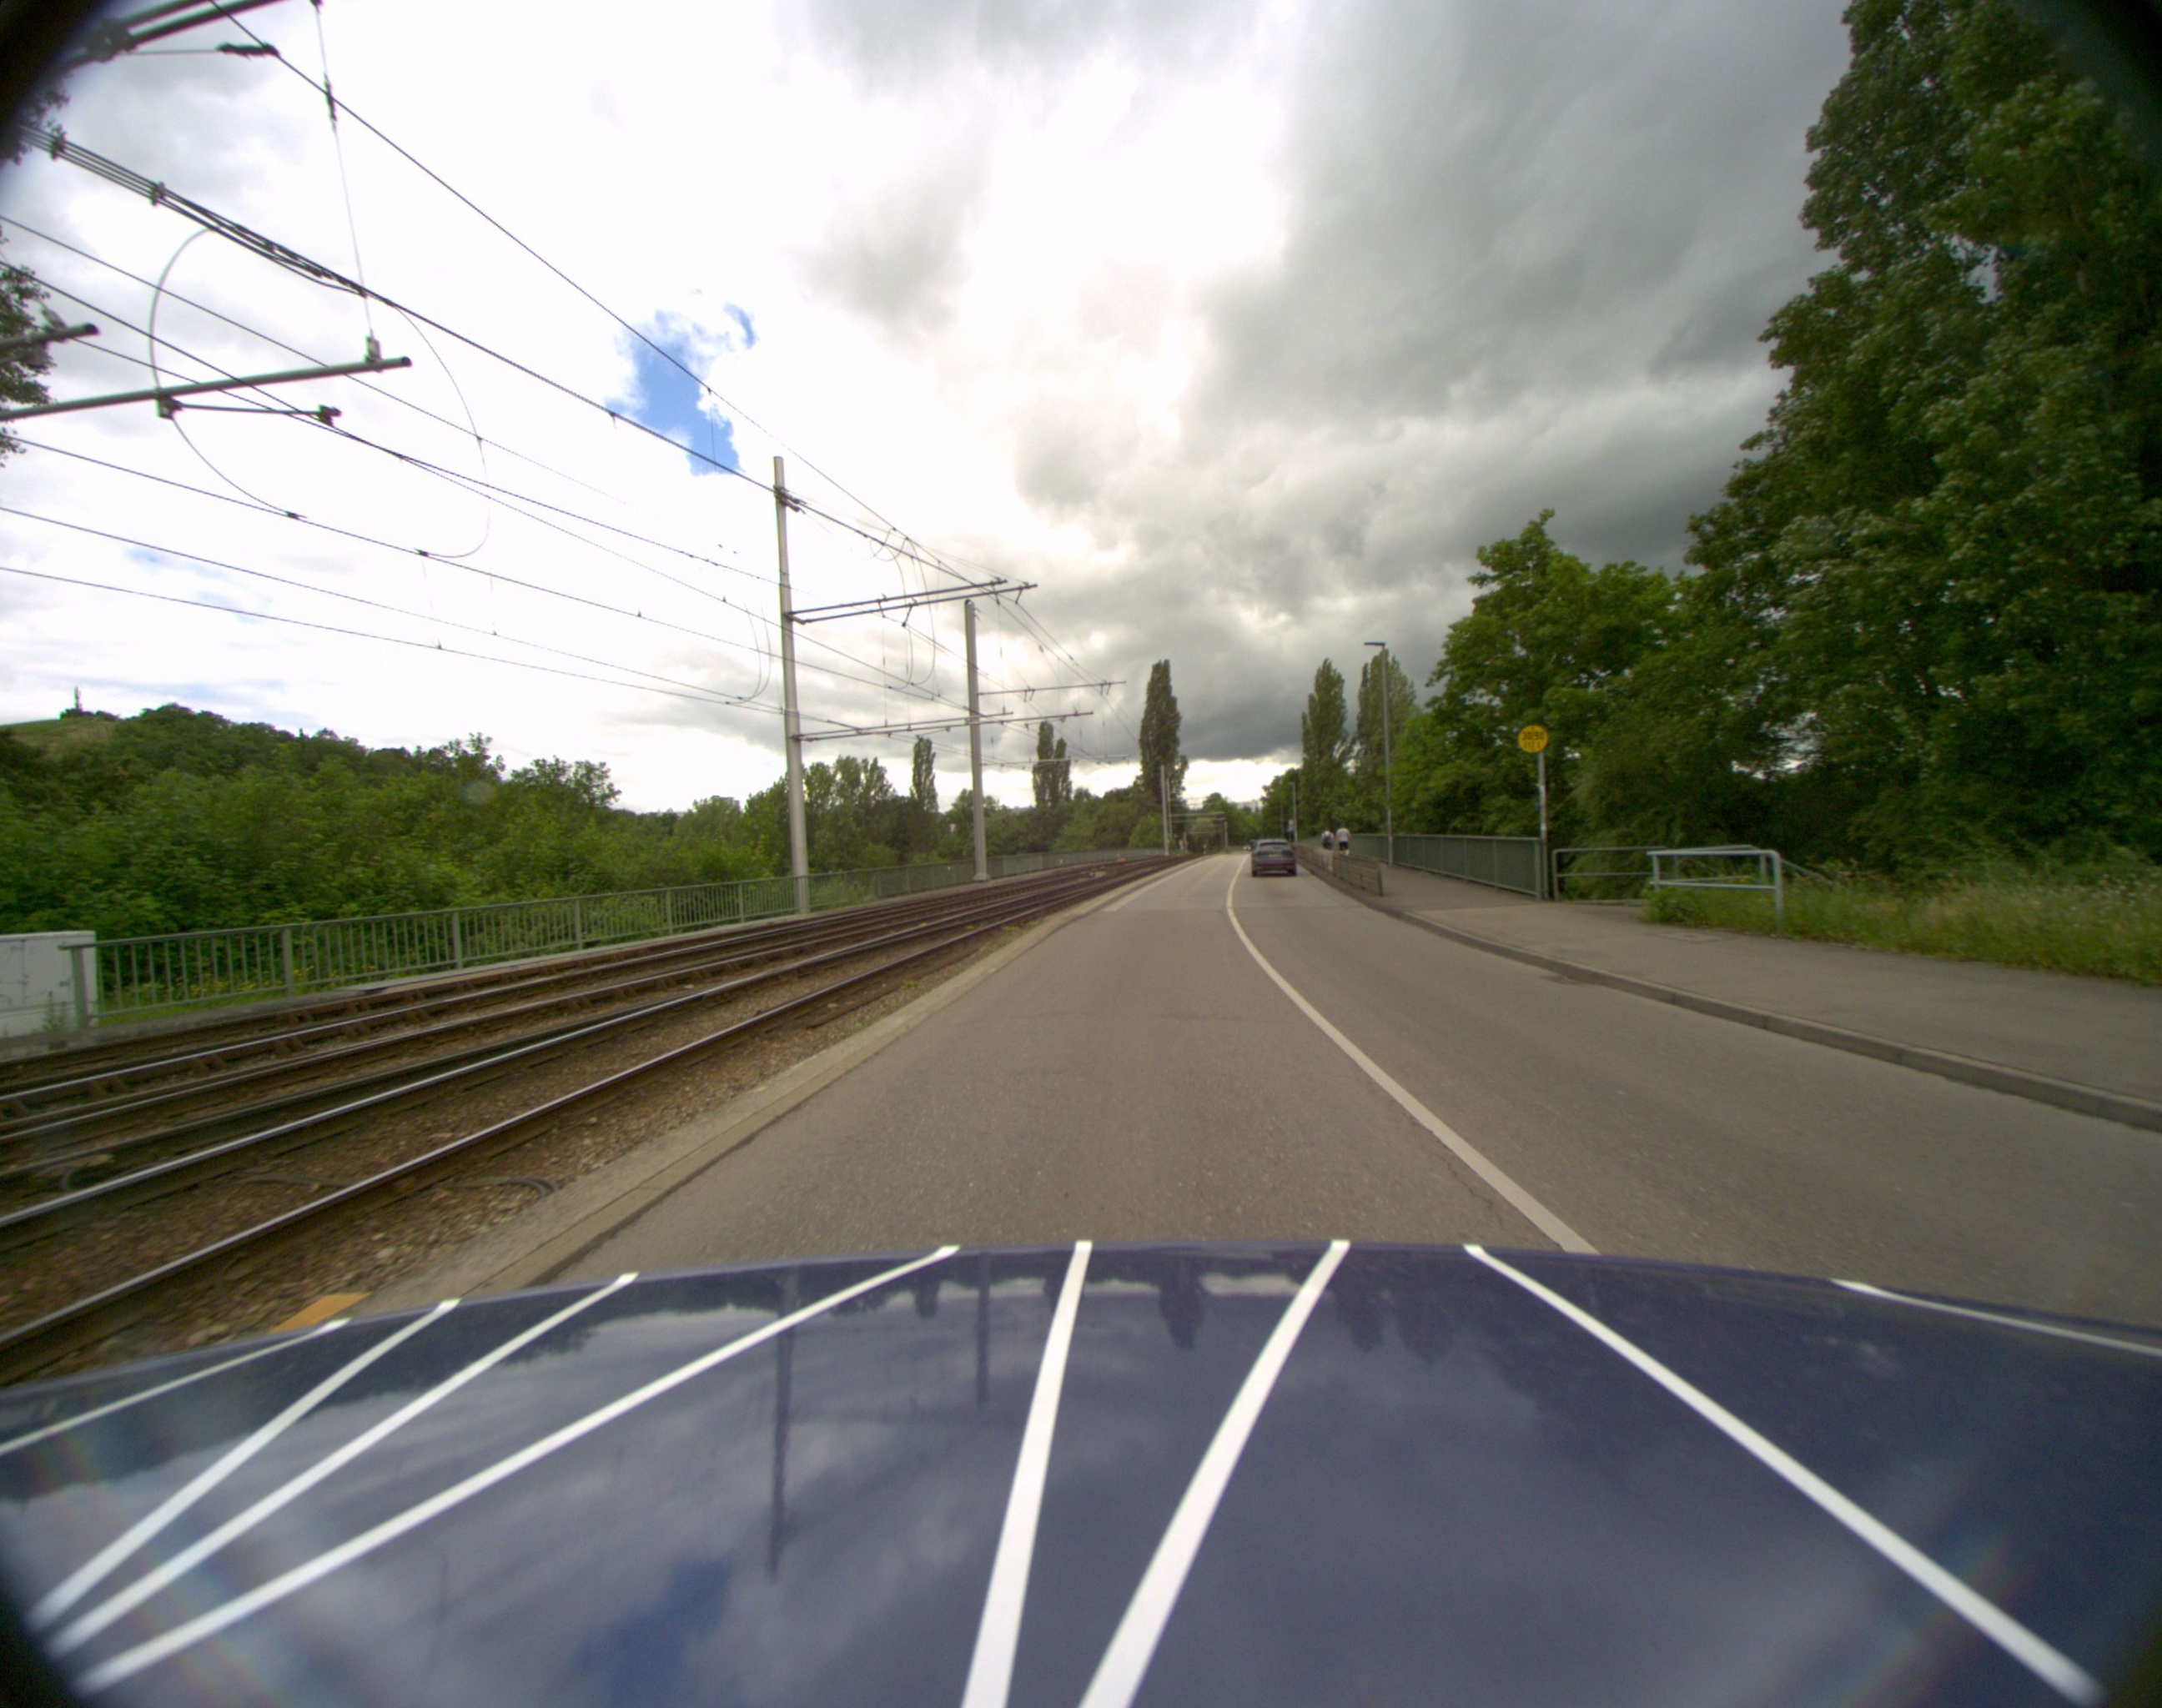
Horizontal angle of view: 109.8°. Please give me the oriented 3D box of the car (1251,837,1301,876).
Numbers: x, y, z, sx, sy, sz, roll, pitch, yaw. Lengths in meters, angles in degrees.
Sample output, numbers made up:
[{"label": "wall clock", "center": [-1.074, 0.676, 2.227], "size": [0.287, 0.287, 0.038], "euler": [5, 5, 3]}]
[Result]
[{"label": "car", "center": [8.067, 0.061, 31.256], "size": [1.718, 1.460, 3.946], "euler": [0, 2, 18]}]

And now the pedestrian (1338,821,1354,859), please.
[{"label": "pedestrian", "center": [12.936, -0.690, 37.089], "size": [0.605, 1.817, 0.556], "euler": [-3, 2, 14]}]

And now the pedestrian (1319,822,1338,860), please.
[{"label": "pedestrian", "center": [12.247, -0.658, 37.641], "size": [0.781, 1.817, 0.727], "euler": [-3, 2, 14]}]
